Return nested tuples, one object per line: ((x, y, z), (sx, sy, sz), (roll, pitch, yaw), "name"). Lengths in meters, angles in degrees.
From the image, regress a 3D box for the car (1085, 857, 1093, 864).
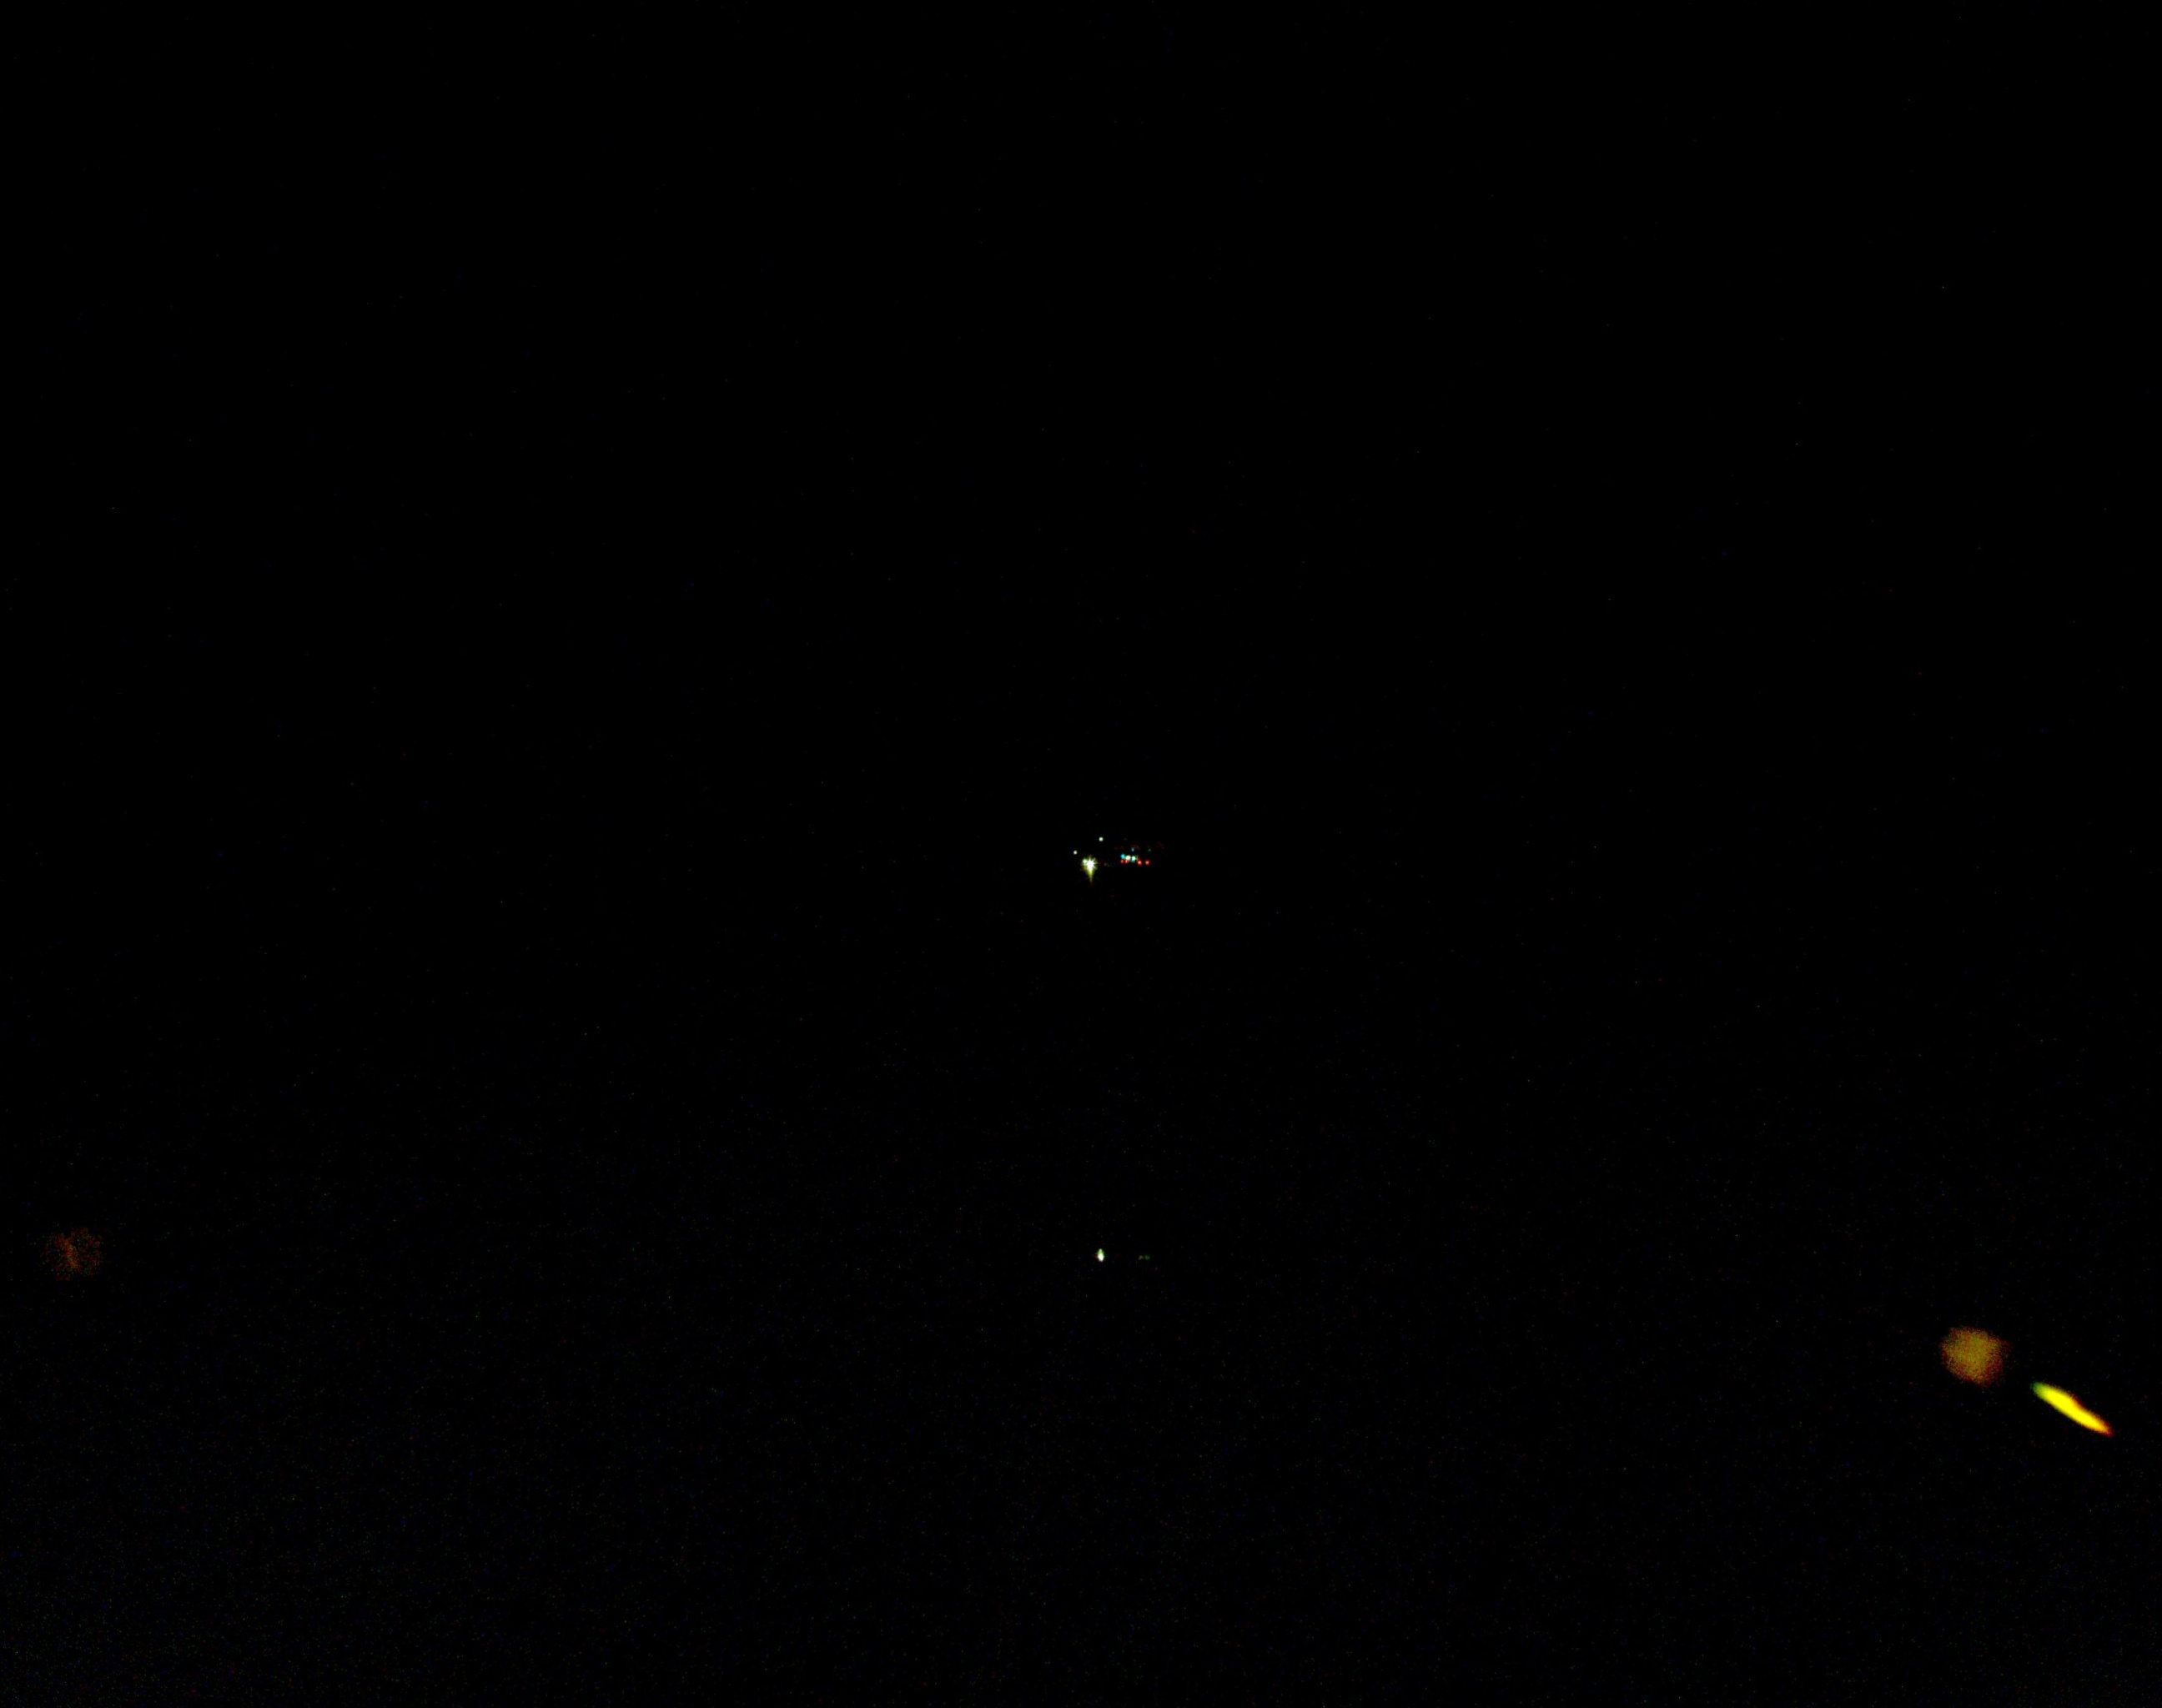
((1.567, 1.228, 149.506), (1.570, 1.336, 4.167), (-2, 0, 0), "car")

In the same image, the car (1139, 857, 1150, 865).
((11.419, 1.244, 137.222), (1.621, 1.498, 3.868), (-2, 0, 0), "car")

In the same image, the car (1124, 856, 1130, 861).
((14.258, 1.316, 235.671), (1.687, 1.578, 4.167), (-2, 0, 0), "car")
